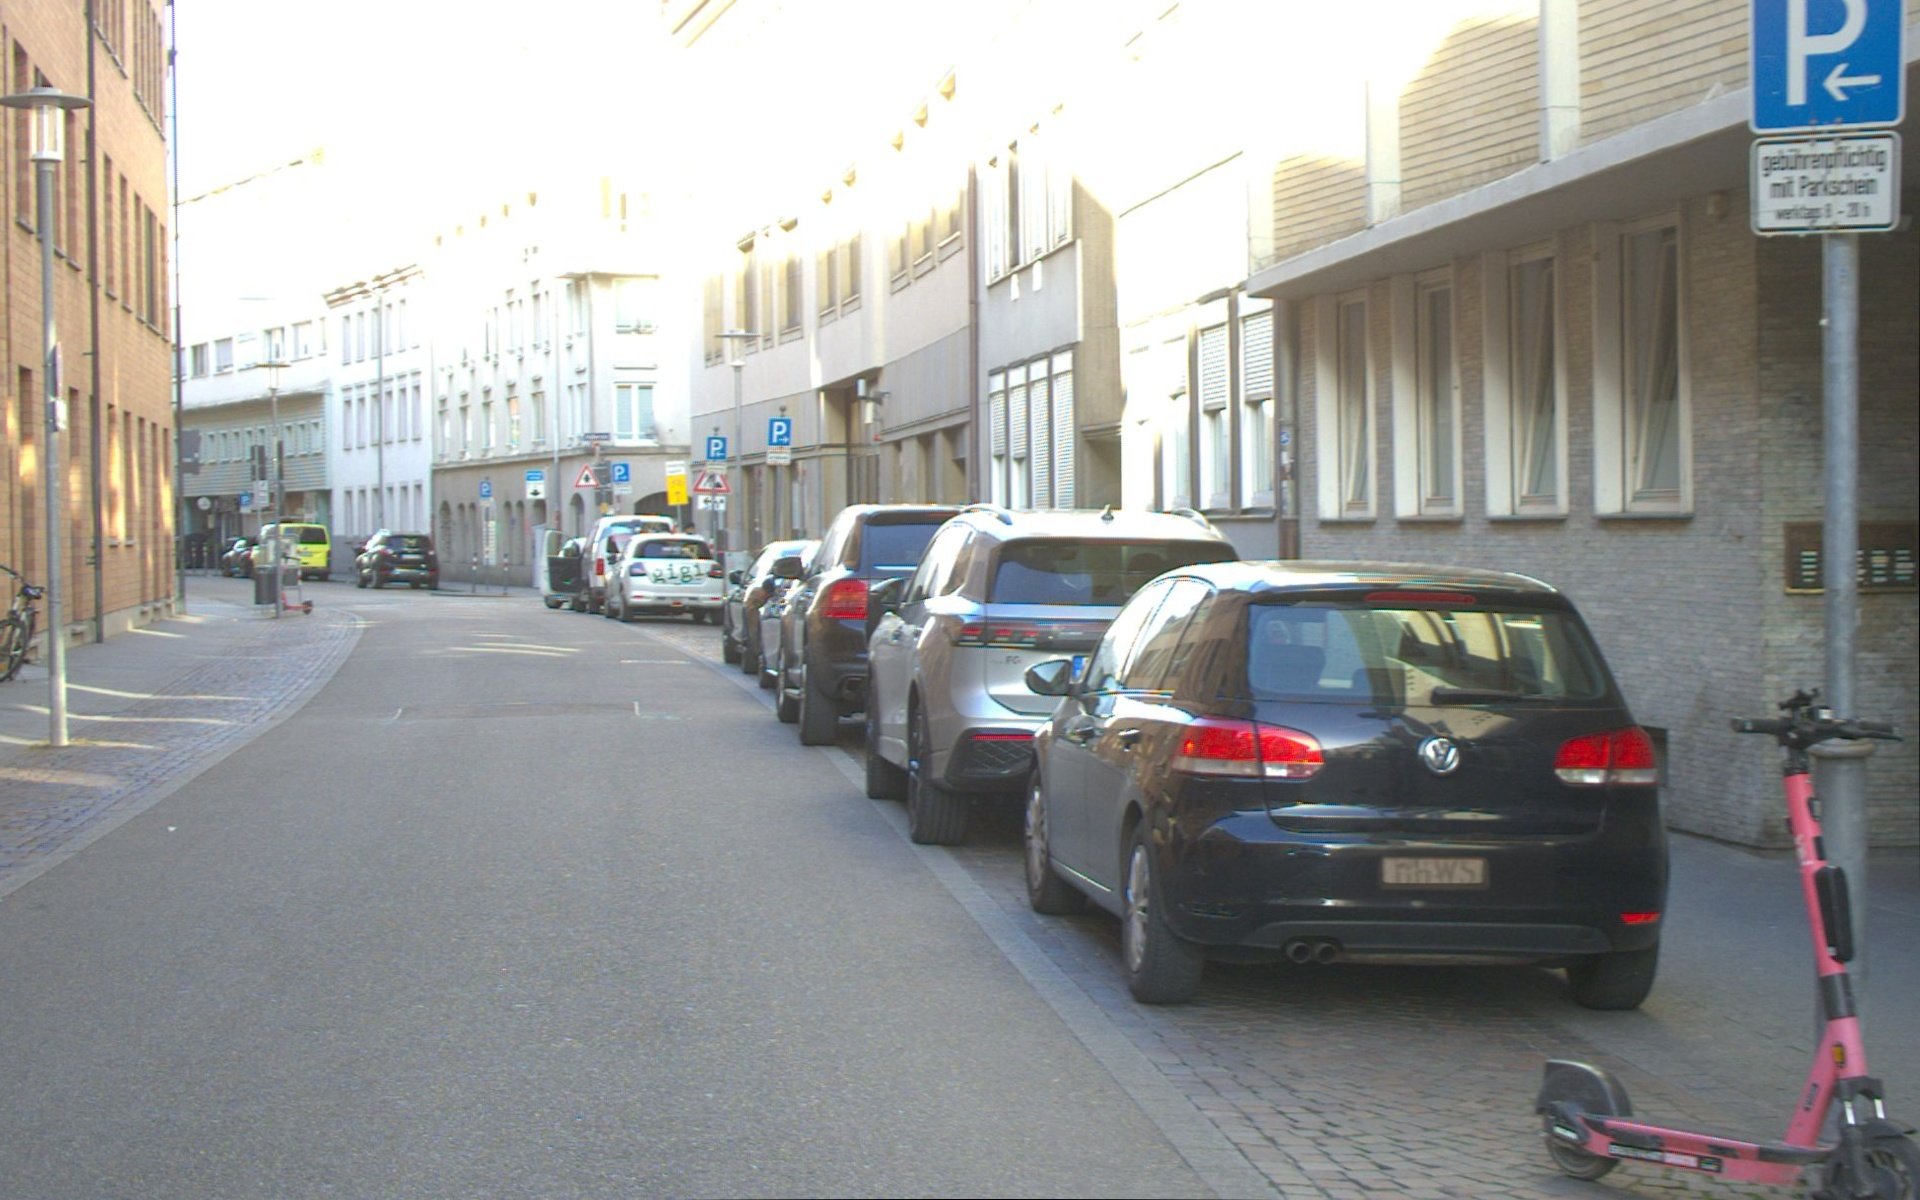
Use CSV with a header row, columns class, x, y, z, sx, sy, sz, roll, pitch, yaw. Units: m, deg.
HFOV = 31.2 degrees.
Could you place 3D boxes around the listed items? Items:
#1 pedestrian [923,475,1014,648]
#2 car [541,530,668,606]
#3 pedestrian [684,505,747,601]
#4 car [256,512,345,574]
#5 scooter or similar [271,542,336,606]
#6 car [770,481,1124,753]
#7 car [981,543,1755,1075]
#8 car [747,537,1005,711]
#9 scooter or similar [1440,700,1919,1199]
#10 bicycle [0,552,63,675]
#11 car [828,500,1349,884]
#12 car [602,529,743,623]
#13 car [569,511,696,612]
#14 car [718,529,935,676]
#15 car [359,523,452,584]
class,x,y,z,sx,sy,sz,roll,pitch,yaw
pedestrian,0.084,-0.401,35.142,0.788,1.715,0.746,-2,2,-6
car,-7.314,-0.677,70.476,1.887,1.513,4.064,0,1,-16
pedestrian,-4.616,-0.892,64.813,1.042,1.795,1.199,0,1,-11
car,-22.070,-1.917,114.876,2.052,2.007,4.176,-1,1,-23
scooter or similar,-12.913,-0.517,67.659,0.698,1.213,1.356,0,1,16
car,-0.223,0.056,25.460,2.103,1.779,5.053,1,1,-6
car,1.264,0.606,12.730,1.822,1.499,4.601,3,1,-6
car,-0.859,0.164,31.615,1.807,1.408,4.791,2,1,-8
scooter or similar,1.754,0.865,8.065,0.493,1.190,1.306,-1,2,-34
bicycle,-9.422,0.125,34.694,0.631,1.158,1.804,2,1,-16
car,0.501,0.370,18.094,1.993,1.696,4.844,2,1,-6
car,-4.928,-0.438,58.455,1.840,1.473,4.169,2,1,-12
car,-6.201,-0.737,64.630,1.830,1.785,5.215,1,1,-11
car,-1.538,-0.028,37.611,1.893,1.448,5.227,1,1,-7
car,-16.053,-1.362,99.356,1.967,1.686,4.102,1,1,-19
